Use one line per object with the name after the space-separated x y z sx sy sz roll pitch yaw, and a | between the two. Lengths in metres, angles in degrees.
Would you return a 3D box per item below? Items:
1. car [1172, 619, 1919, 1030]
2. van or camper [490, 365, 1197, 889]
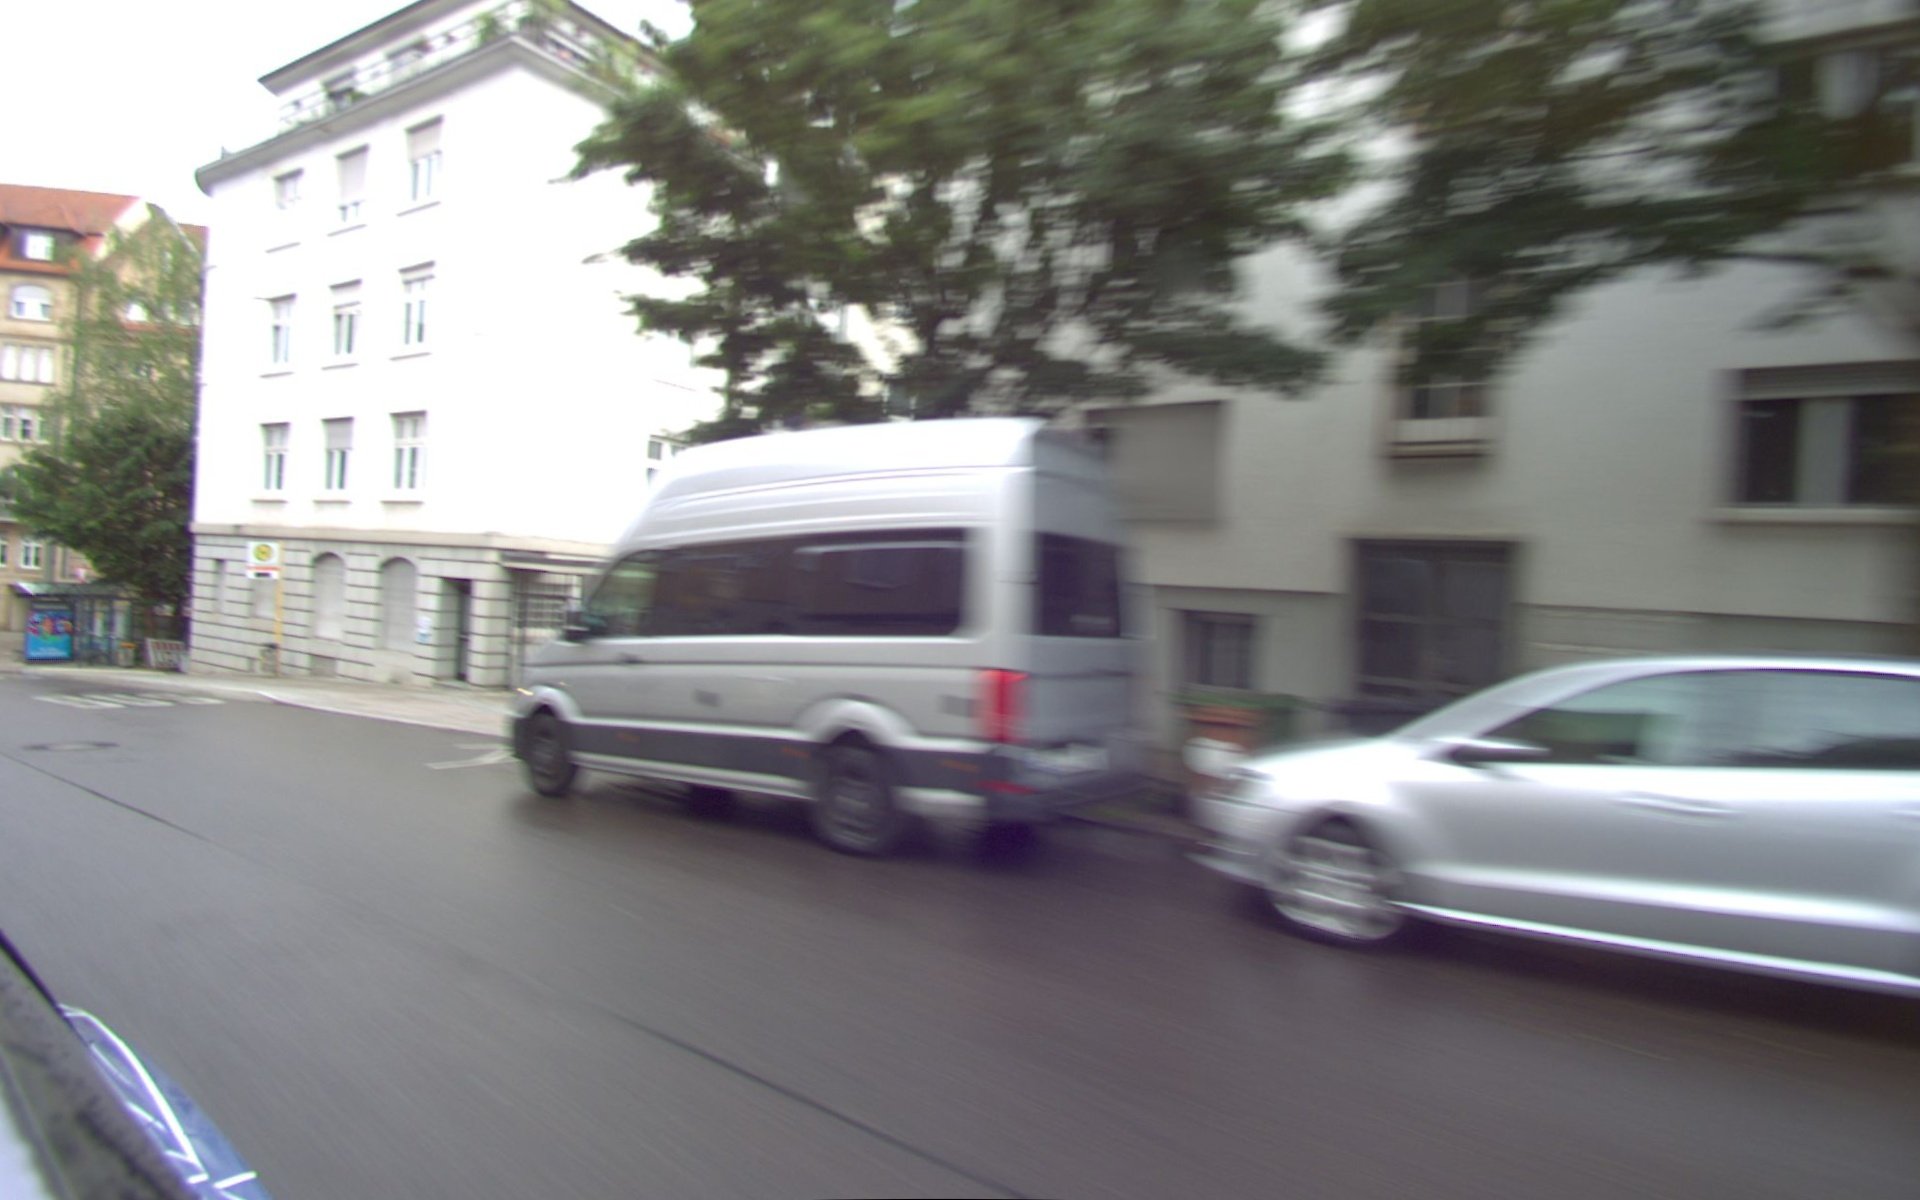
3.163 0.819 4.601 4.038 1.420 1.572 -1 -3 35 | car
-1.212 0.231 8.106 5.737 2.881 2.048 -1 -4 37 | van or camper
